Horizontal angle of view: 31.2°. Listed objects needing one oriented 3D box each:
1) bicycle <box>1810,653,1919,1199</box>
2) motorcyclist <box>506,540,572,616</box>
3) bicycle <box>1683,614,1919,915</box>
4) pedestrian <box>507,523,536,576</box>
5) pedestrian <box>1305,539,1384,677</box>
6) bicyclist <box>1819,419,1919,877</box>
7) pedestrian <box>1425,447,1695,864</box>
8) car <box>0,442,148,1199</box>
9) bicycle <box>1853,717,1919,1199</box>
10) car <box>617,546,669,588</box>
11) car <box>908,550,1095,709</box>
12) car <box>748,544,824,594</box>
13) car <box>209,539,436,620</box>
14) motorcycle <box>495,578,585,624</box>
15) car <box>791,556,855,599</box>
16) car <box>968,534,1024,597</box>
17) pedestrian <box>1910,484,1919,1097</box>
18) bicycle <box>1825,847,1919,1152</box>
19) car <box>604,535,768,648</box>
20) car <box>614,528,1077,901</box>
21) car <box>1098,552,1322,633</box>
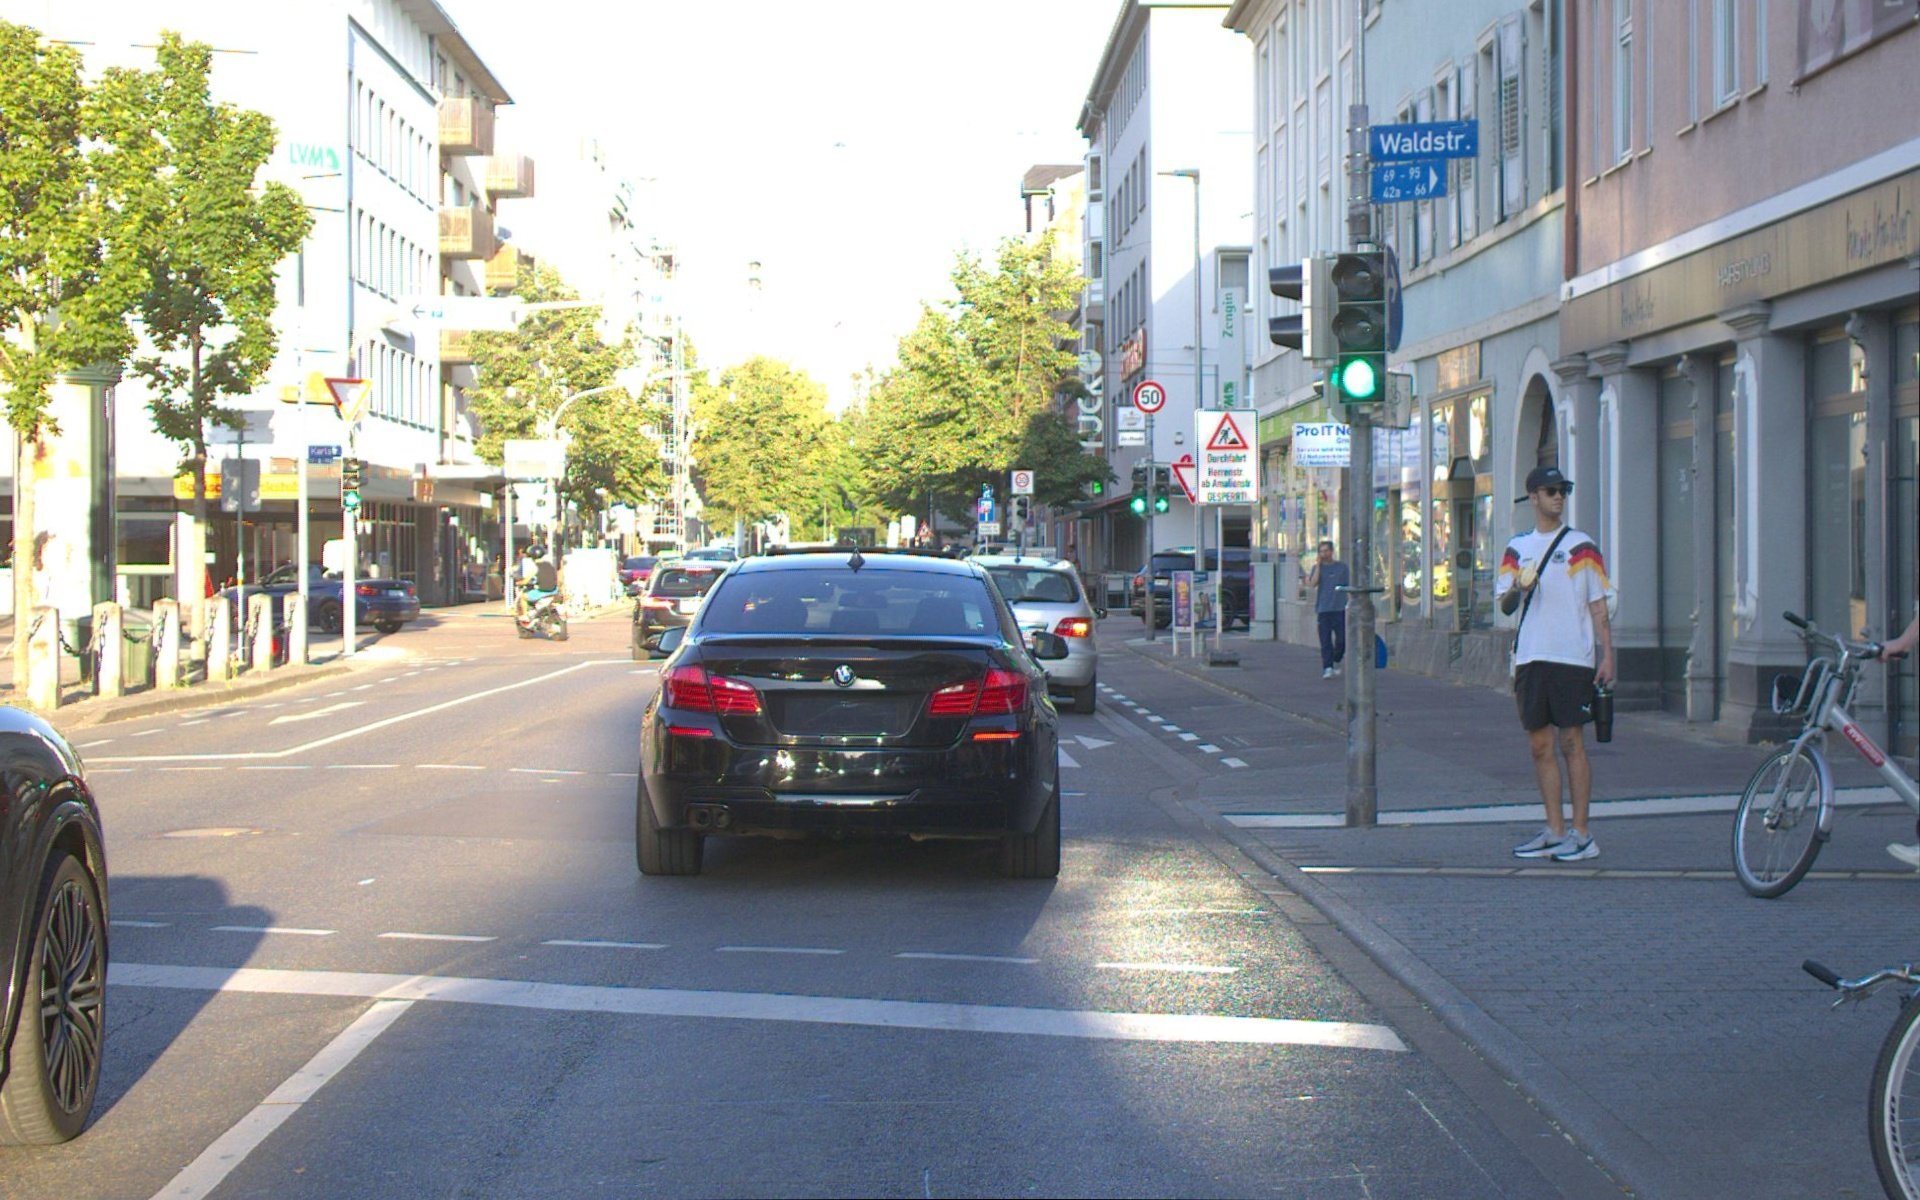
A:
[{"bbox_3d":[2.657,0.724,6.682,1.843,1.235,0.639,0,1,-6],"label":"bicycle"},{"bbox_3d":[-7.395,-0.389,60.368,0.765,1.315,0.994,0,1,-35],"label":"motorcyclist"},{"bbox_3d":[3.903,0.655,14.041,1.820,1.182,0.793,0,1,9],"label":"bicycle"},{"bbox_3d":[-14.005,-1.612,109.919,0.823,1.671,0.871,0,1,-2],"label":"pedestrian"},{"bbox_3d":[4.630,0.089,41.452,0.823,1.636,0.871,0,1,-2],"label":"pedestrian"},{"bbox_3d":[3.988,0.186,14.034,0.833,1.820,0.830,0,1,7],"label":"bicyclist"},{"bbox_3d":[2.812,0.243,16.144,0.937,1.891,0.826,0,1,-28],"label":"pedestrian"},{"bbox_3d":[-3.152,0.522,6.831,1.948,1.708,4.562,0,1,0],"label":"car"},{"bbox_3d":[2.978,0.784,7.621,1.781,1.060,0.719,-2,1,-11],"label":"bicycle"},{"bbox_3d":[-11.352,-1.194,122.947,1.733,1.456,4.001,1,1,-6],"label":"car"},{"bbox_3d":[0.391,0.269,36.644,1.832,1.570,4.101,0,1,-1],"label":"car"},{"bbox_3d":[-5.147,-0.918,101.498,1.993,1.437,4.001,0,1,-6],"label":"car"},{"bbox_3d":[-12.272,-0.416,66.118,3.994,1.481,1.996,1,1,32],"label":"car"},{"bbox_3d":[-7.381,0.009,60.344,0.662,0.778,2.033,0,1,-36],"label":"motorcycle"},{"bbox_3d":[-4.325,-0.721,108.275,1.733,1.288,4.001,0,1,-6],"label":"car"},{"bbox_3d":[1.090,-1.044,104.720,1.421,1.848,3.053,1,0,-4],"label":"car"},{"bbox_3d":[3.116,0.512,9.279,0.791,1.647,0.778,1,1,43],"label":"pedestrian"},{"bbox_3d":[2.794,0.983,8.351,1.004,0.679,1.051,0,1,-10],"label":"bicycle"},{"bbox_3d":[-4.093,-0.159,50.812,1.872,1.590,4.451,0,1,-12],"label":"car"},{"bbox_3d":[-0.547,0.433,16.470,1.903,1.535,4.450,0,1,-2],"label":"car"},{"bbox_3d":[4.943,-0.150,68.179,3.986,1.546,2.096,0,1,-13],"label":"car"}]
